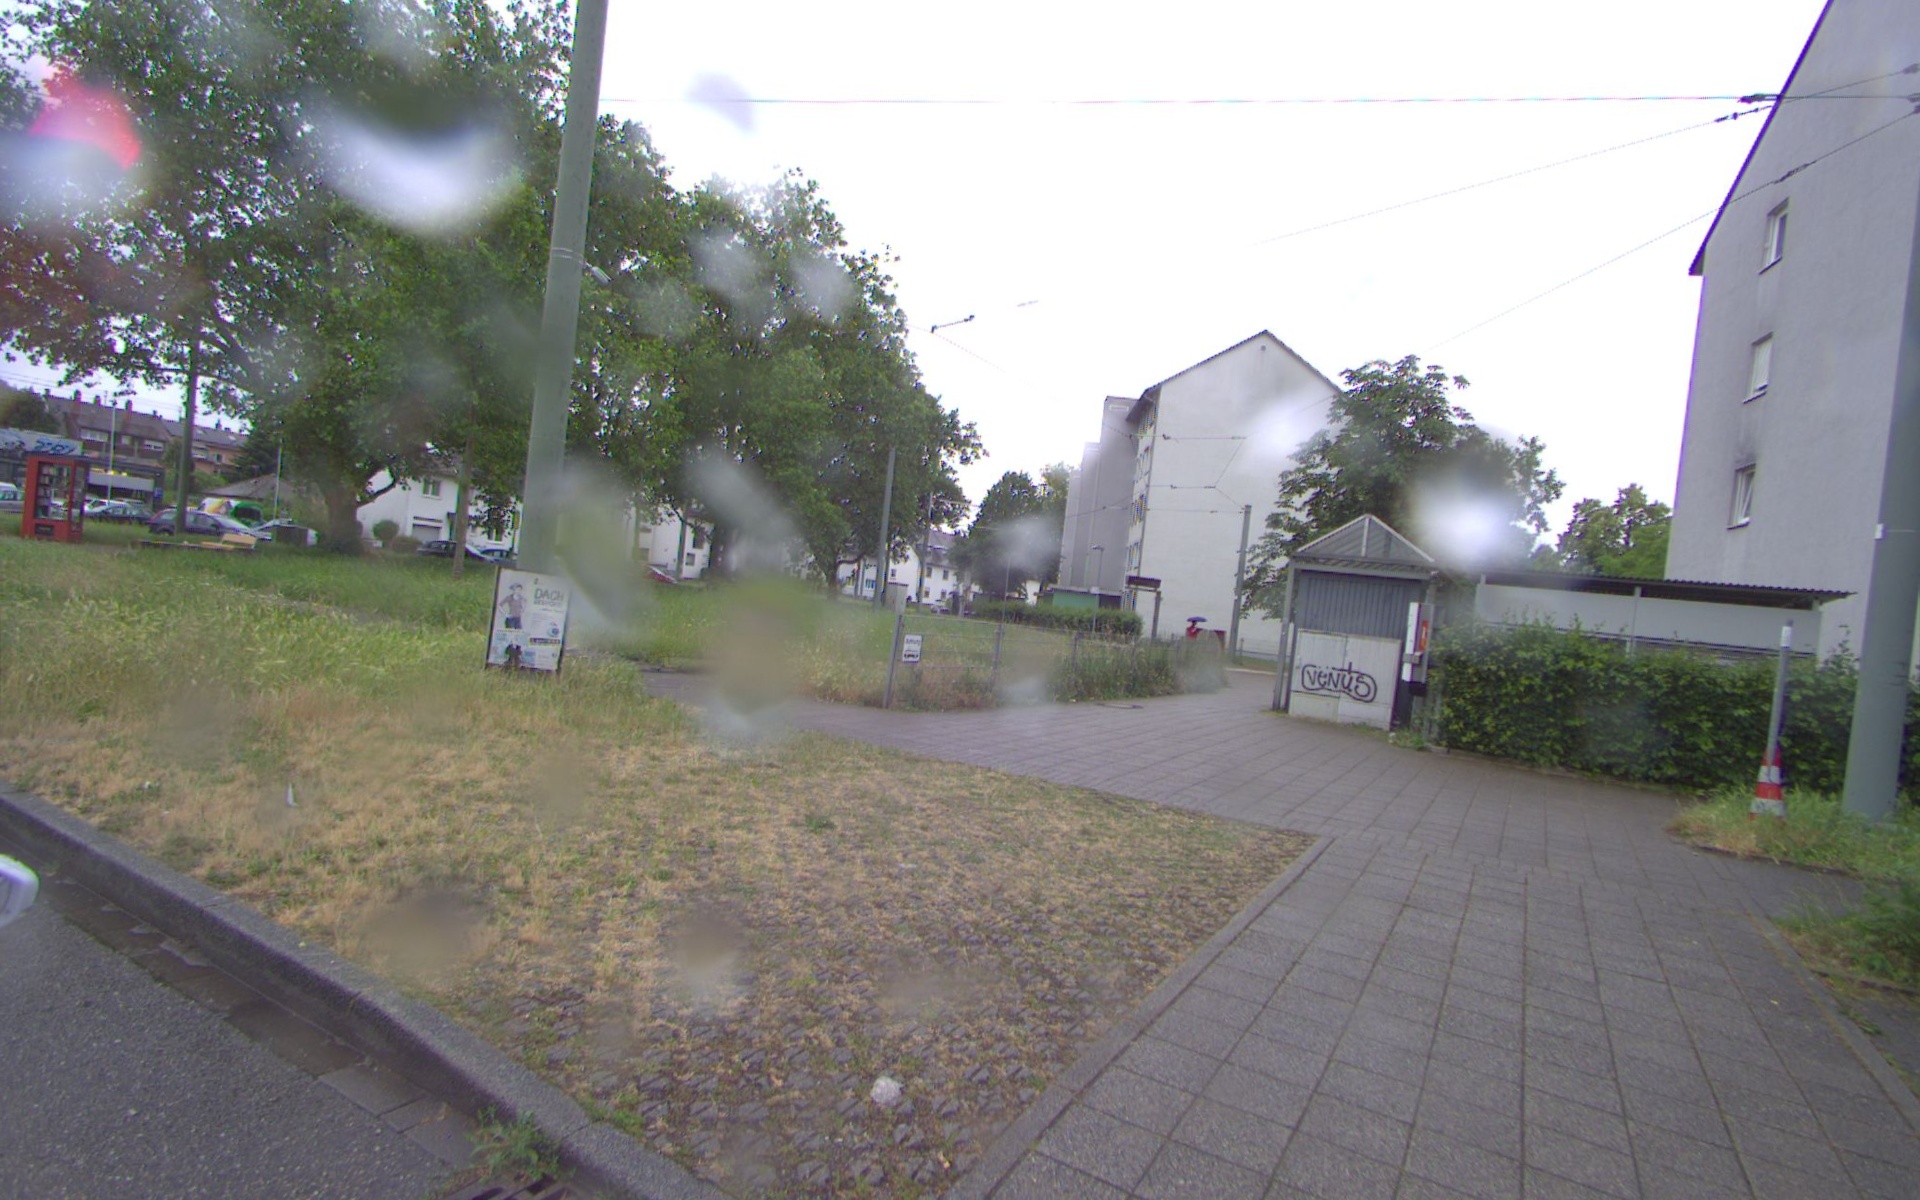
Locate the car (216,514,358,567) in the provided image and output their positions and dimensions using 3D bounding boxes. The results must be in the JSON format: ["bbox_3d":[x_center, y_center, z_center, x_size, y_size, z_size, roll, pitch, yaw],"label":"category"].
[{"bbox_3d":[-25.165,-2.205,37.711,1.819,1.300,3.987,6,-3,39],"label":"car"}]

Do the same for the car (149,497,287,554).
[{"bbox_3d":[-29.167,-2.895,39.667,3.855,1.512,1.806,8,-2,-15],"label":"car"}]

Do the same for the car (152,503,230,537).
[{"bbox_3d":[-55.469,-5.763,72.605,1.816,1.658,3.995,6,-2,32],"label":"car"}]

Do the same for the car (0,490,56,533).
[{"bbox_3d":[-46.586,-4.430,48.728,1.859,1.720,3.692,6,-2,32],"label":"car"}]

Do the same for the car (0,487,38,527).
[{"bbox_3d":[-54.727,-5.456,56.354,1.966,1.973,3.997,6,-2,30],"label":"car"}]

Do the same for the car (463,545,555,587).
[{"bbox_3d":[-22.814,-1.682,51.064,3.855,1.512,1.806,8,-2,-15],"label":"car"}]

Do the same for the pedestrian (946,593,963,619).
[{"bbox_3d":[-0.439,0.487,76.526,1.022,1.811,0.818,7,-1,-3],"label":"pedestrian"}]

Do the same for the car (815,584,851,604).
[{"bbox_3d":[-14.092,-0.619,111.608,1.859,1.679,3.692,6,-2,32],"label":"car"}]

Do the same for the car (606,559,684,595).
[{"bbox_3d":[-18.632,-1.330,59.590,3.842,1.513,1.812,7,-2,3],"label":"car"}]

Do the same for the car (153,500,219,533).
[{"bbox_3d":[-62.124,-6.704,80.772,3.924,2.037,2.003,7,-2,14],"label":"car"}]

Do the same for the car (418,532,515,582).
[{"bbox_3d":[-23.734,-2.039,48.530,3.710,1.819,1.806,8,-2,-15],"label":"car"}]

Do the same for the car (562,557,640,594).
[{"bbox_3d":[-20.115,-1.357,56.533,3.855,1.512,1.806,8,-2,-15],"label":"car"}]

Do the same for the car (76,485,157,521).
[{"bbox_3d":[-61.691,-7.080,73.620,1.968,1.811,3.992,6,-2,34],"label":"car"}]

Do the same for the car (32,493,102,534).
[{"bbox_3d":[-50.081,-4.866,56.422,3.938,1.811,1.995,6,-2,36],"label":"car"}]

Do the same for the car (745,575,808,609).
[{"bbox_3d":[-12.746,-0.543,70.103,3.843,1.785,1.812,7,-2,0],"label":"car"}]

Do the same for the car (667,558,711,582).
[{"bbox_3d":[-25.716,-2.796,95.525,1.859,1.679,3.692,6,-2,32],"label":"car"}]

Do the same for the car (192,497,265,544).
[{"bbox_3d":[-46.748,-5.055,64.268,4.280,2.471,1.998,6,-2,31],"label":"car"}]

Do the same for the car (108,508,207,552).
[{"bbox_3d":[-43.431,-3.782,54.511,1.859,1.720,3.692,6,-2,32],"label":"car"}]

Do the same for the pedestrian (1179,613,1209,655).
[{"bbox_3d":[10.323,1.502,44.422,0.806,1.674,0.889,6,-1,41],"label":"pedestrian"}]

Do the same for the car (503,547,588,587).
[{"bbox_3d":[-21.983,-1.725,53.500,3.855,1.512,1.806,8,-2,-15],"label":"car"}]
